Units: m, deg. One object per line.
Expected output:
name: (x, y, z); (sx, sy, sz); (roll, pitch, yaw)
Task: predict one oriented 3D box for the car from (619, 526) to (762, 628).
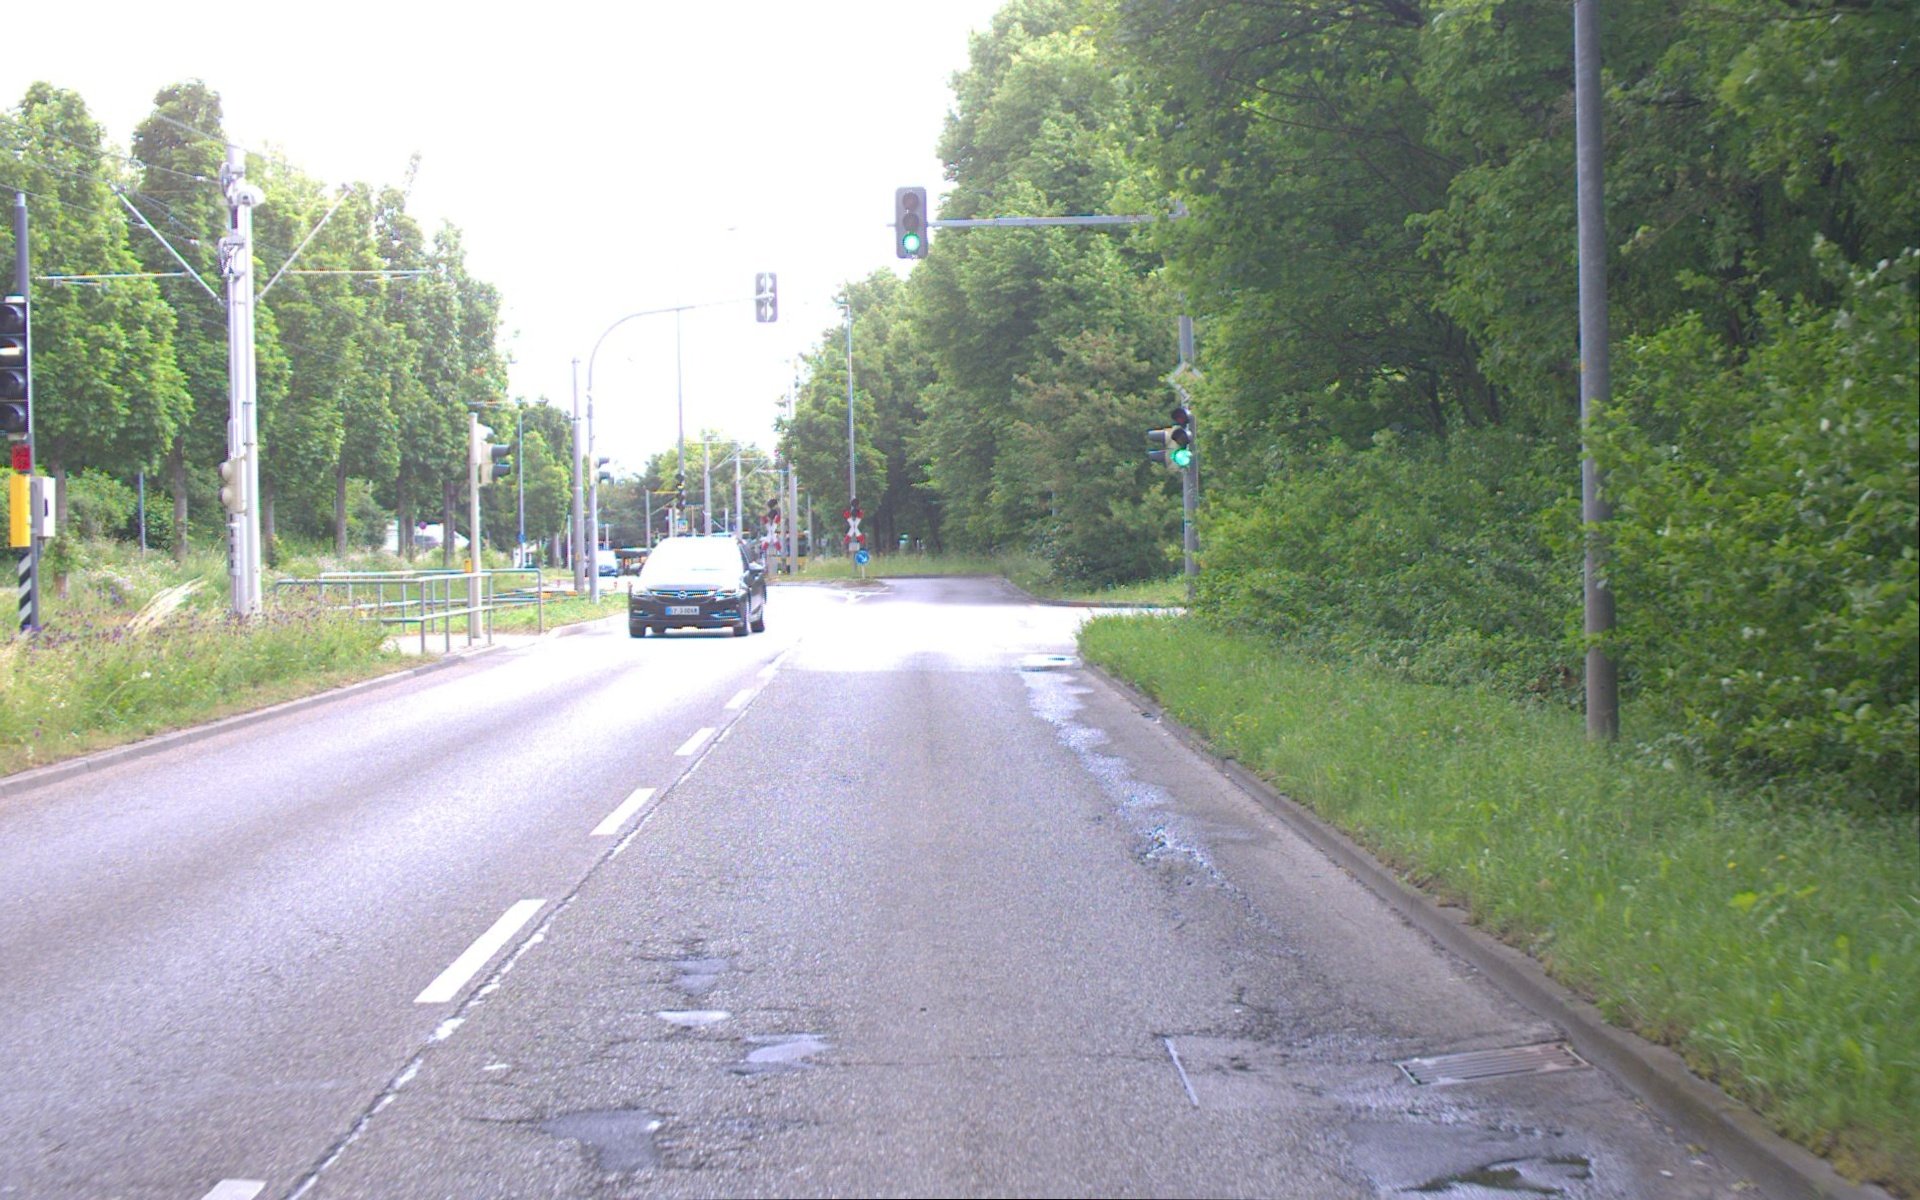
car: (-4.033, -0.373, 51.969); (1.850, 1.465, 4.256); (0, 1, 0)
